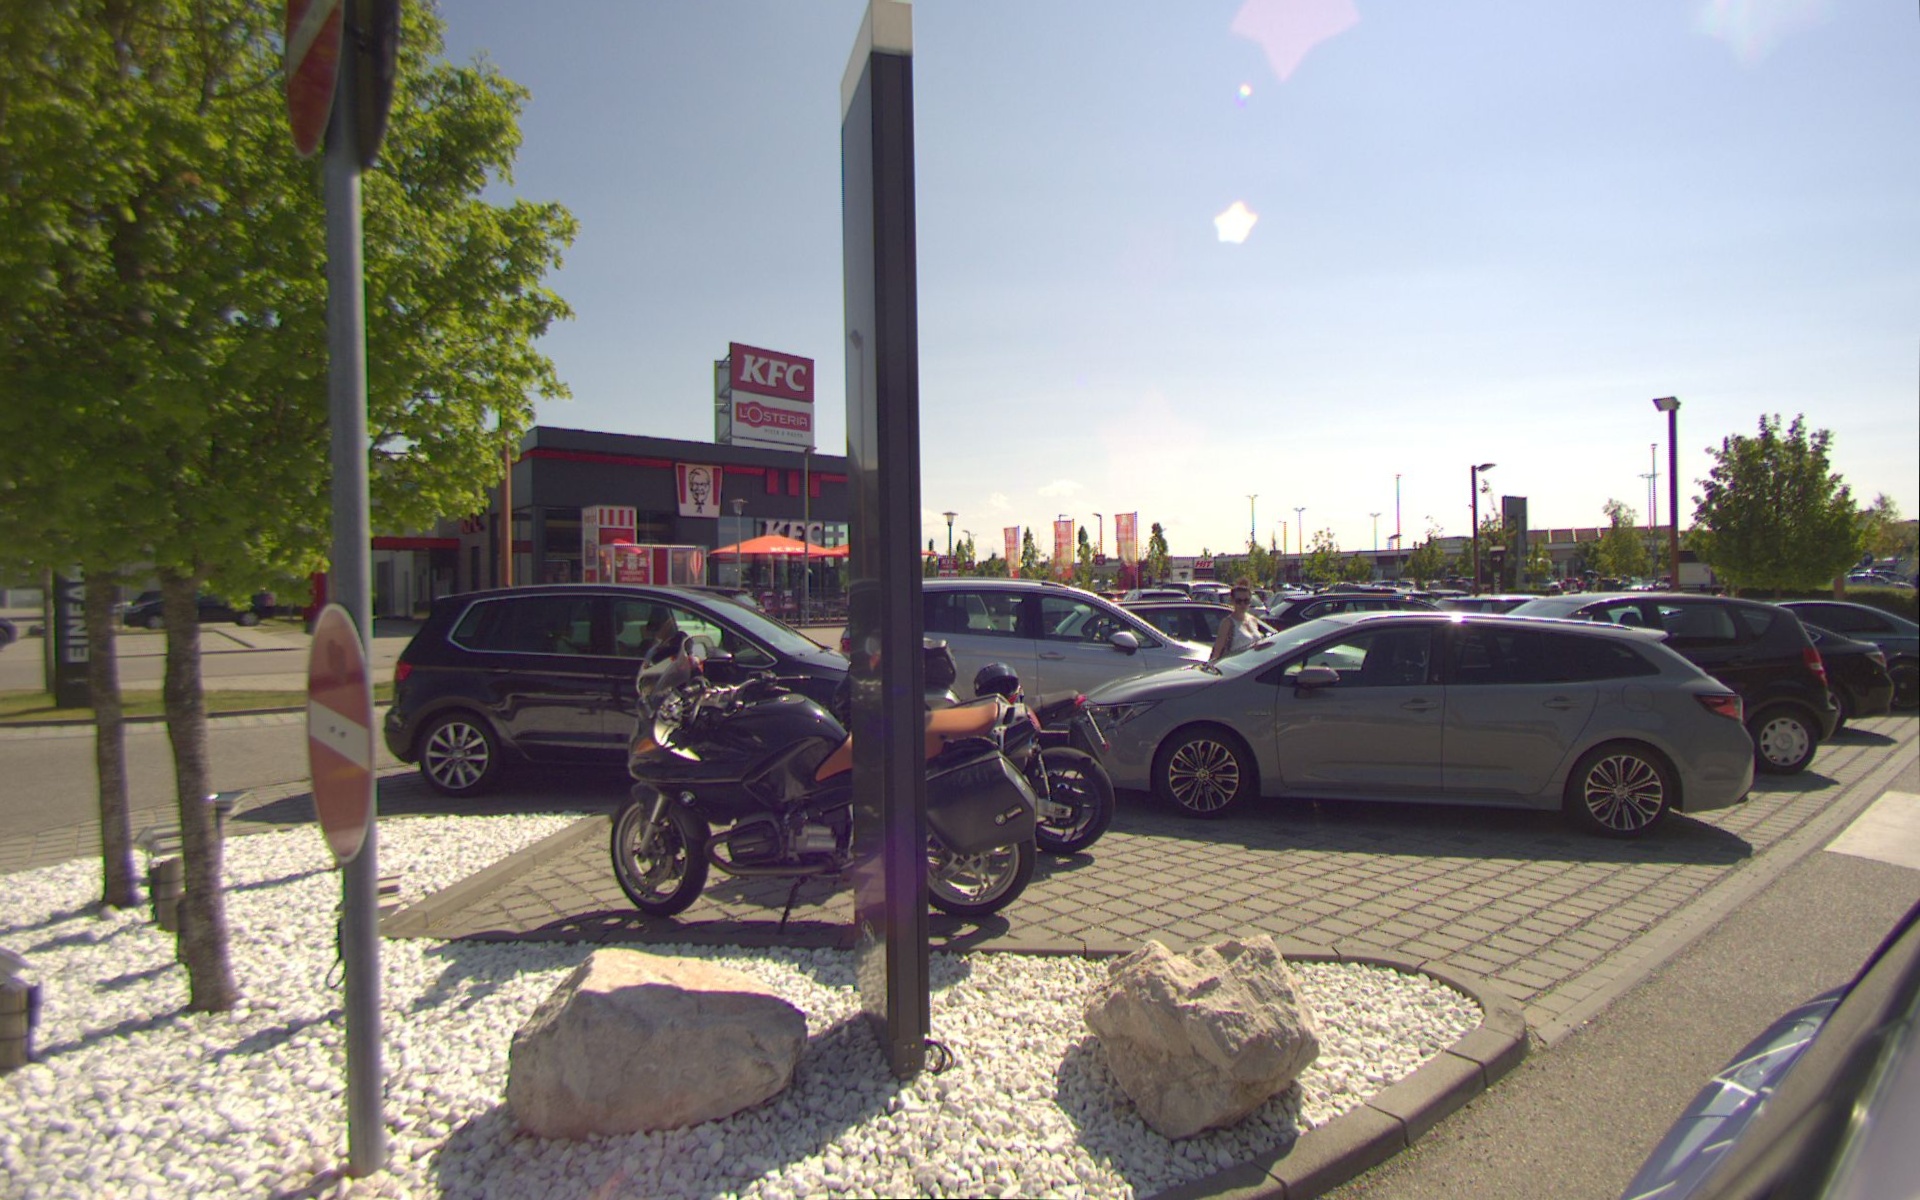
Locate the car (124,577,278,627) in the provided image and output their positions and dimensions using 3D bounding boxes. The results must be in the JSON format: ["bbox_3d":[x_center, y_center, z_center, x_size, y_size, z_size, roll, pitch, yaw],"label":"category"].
[{"bbox_3d":[-27.421,0.034,36.632,4.312,1.706,1.638,-1,1,-44],"label":"car"}]

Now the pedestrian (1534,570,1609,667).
[{"bbox_3d":[12.680,0.359,21.008,0.884,1.940,1.030,-1,0,-28],"label":"pedestrian"}]

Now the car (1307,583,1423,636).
[{"bbox_3d":[12.977,0.254,32.689,1.770,1.576,4.060,0,1,-6],"label":"car"}]

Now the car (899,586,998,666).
[{"bbox_3d":[-0.249,0.458,21.418,1.878,1.490,4.473,0,1,-1],"label":"car"}]

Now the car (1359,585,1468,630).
[{"bbox_3d":[15.572,0.217,35.005,1.762,1.440,4.089,0,1,-3],"label":"car"}]

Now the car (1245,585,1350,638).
[{"bbox_3d":[9.926,0.285,30.110,1.681,1.428,4.680,0,1,2],"label":"car"}]

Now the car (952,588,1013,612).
[{"bbox_3d":[1.457,-0.014,66.210,3.682,1.530,1.688,-1,1,-33],"label":"car"}]

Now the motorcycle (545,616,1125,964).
[{"bbox_3d":[-0.479,0.731,4.422,2.210,1.267,1.070,1,-1,1],"label":"motorcycle"}]

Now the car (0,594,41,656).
[{"bbox_3d":[-23.946,0.612,23.108,1.674,1.459,4.195,0,1,15],"label":"car"}]

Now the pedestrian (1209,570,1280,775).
[{"bbox_3d":[2.487,0.607,8.898,0.555,1.734,0.608,0,0,12],"label":"pedestrian"}]

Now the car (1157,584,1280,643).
[{"bbox_3d":[7.121,0.319,28.395,1.742,1.530,4.359,-1,1,-9],"label":"car"}]

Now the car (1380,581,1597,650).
[{"bbox_3d":[11.469,0.311,22.193,3.837,1.444,1.703,0,1,7],"label":"car"}]

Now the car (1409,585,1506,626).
[{"bbox_3d":[18.554,0.173,37.925,1.878,1.440,3.773,0,1,3],"label":"car"}]

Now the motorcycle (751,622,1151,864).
[{"bbox_3d":[-0.061,0.769,5.749,2.099,1.247,0.821,1,0,-2],"label":"motorcycle"}]

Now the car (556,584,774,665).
[{"bbox_3d":[-6.073,0.478,21.064,4.015,1.596,1.754,0,0,6],"label":"car"}]

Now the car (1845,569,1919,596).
[{"bbox_3d":[61.596,-1.154,67.283,1.863,1.749,3.989,-1,1,-44],"label":"car"}]

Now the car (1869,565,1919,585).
[{"bbox_3d":[65.832,-1.728,70.263,1.636,1.359,3.902,-1,1,-41],"label":"car"}]

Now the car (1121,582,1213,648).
[{"bbox_3d":[5.079,0.314,25.320,1.788,1.508,3.995,0,1,5],"label":"car"}]

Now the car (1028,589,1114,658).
[{"bbox_3d":[2.457,0.478,23.243,1.788,1.420,3.996,0,1,4],"label":"car"}]

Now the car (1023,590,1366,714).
[{"bbox_3d":[2.819,0.600,12.917,4.009,1.426,1.792,0,1,4],"label":"car"}]

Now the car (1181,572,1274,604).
[{"bbox_3d":[12.358,-0.567,46.659,4.074,1.415,1.889,-1,1,-33],"label":"car"}]

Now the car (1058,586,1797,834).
[{"bbox_3d":[3.050,0.677,7.525,4.582,1.465,1.832,1,0,7],"label":"car"}]

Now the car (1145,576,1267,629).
[{"bbox_3d":[8.802,0.051,36.067,4.290,1.772,2.070,-1,1,-40],"label":"car"}]

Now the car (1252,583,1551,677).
[{"bbox_3d":[7.532,0.494,17.662,4.339,1.530,1.981,0,1,6],"label":"car"}]

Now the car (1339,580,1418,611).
[{"bbox_3d":[28.991,-0.339,70.280,1.959,2.039,5.030,-1,1,-27],"label":"car"}]

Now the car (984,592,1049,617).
[{"bbox_3d":[3.491,0.246,62.049,3.682,1.472,1.688,-1,1,-33],"label":"car"}]

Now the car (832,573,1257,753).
[{"bbox_3d":[0.820,0.566,10.408,3.995,1.660,1.746,0,1,5],"label":"car"}]

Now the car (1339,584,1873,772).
[{"bbox_3d":[5.963,0.665,9.807,3.931,1.613,1.809,0,1,6],"label":"car"}]

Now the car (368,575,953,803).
[{"bbox_3d":[-2.178,0.597,8.116,4.116,1.556,1.894,0,1,5],"label":"car"}]

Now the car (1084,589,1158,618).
[{"bbox_3d":[8.529,0.173,53.501,3.682,1.472,1.688,-1,1,-33],"label":"car"}]

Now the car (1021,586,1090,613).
[{"bbox_3d":[5.457,-0.051,57.781,3.682,1.472,1.688,-1,1,-33],"label":"car"}]

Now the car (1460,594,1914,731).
[{"bbox_3d":[8.465,0.690,12.131,4.005,1.467,1.826,0,1,6],"label":"car"}]

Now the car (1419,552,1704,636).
[{"bbox_3d":[11.625,-0.120,19.837,4.339,1.530,1.981,0,1,6],"label":"car"}]

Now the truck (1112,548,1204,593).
[{"bbox_3d":[17.910,-2.640,92.425,3.145,3.915,9.142,-1,1,-29],"label":"truck"}]

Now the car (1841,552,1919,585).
[{"bbox_3d":[67.634,-2.221,72.494,2.261,2.272,6.561,-1,1,-41],"label":"car"}]

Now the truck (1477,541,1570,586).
[{"bbox_3d":[44.501,-2.823,80.262,2.373,3.393,7.577,-1,1,-7],"label":"truck"}]

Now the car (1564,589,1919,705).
[{"bbox_3d":[11.509,0.625,14.536,4.463,1.530,1.885,0,1,6],"label":"car"}]

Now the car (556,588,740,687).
[{"bbox_3d":[-5.076,0.533,17.074,1.809,1.443,4.186,0,1,0],"label":"car"}]
